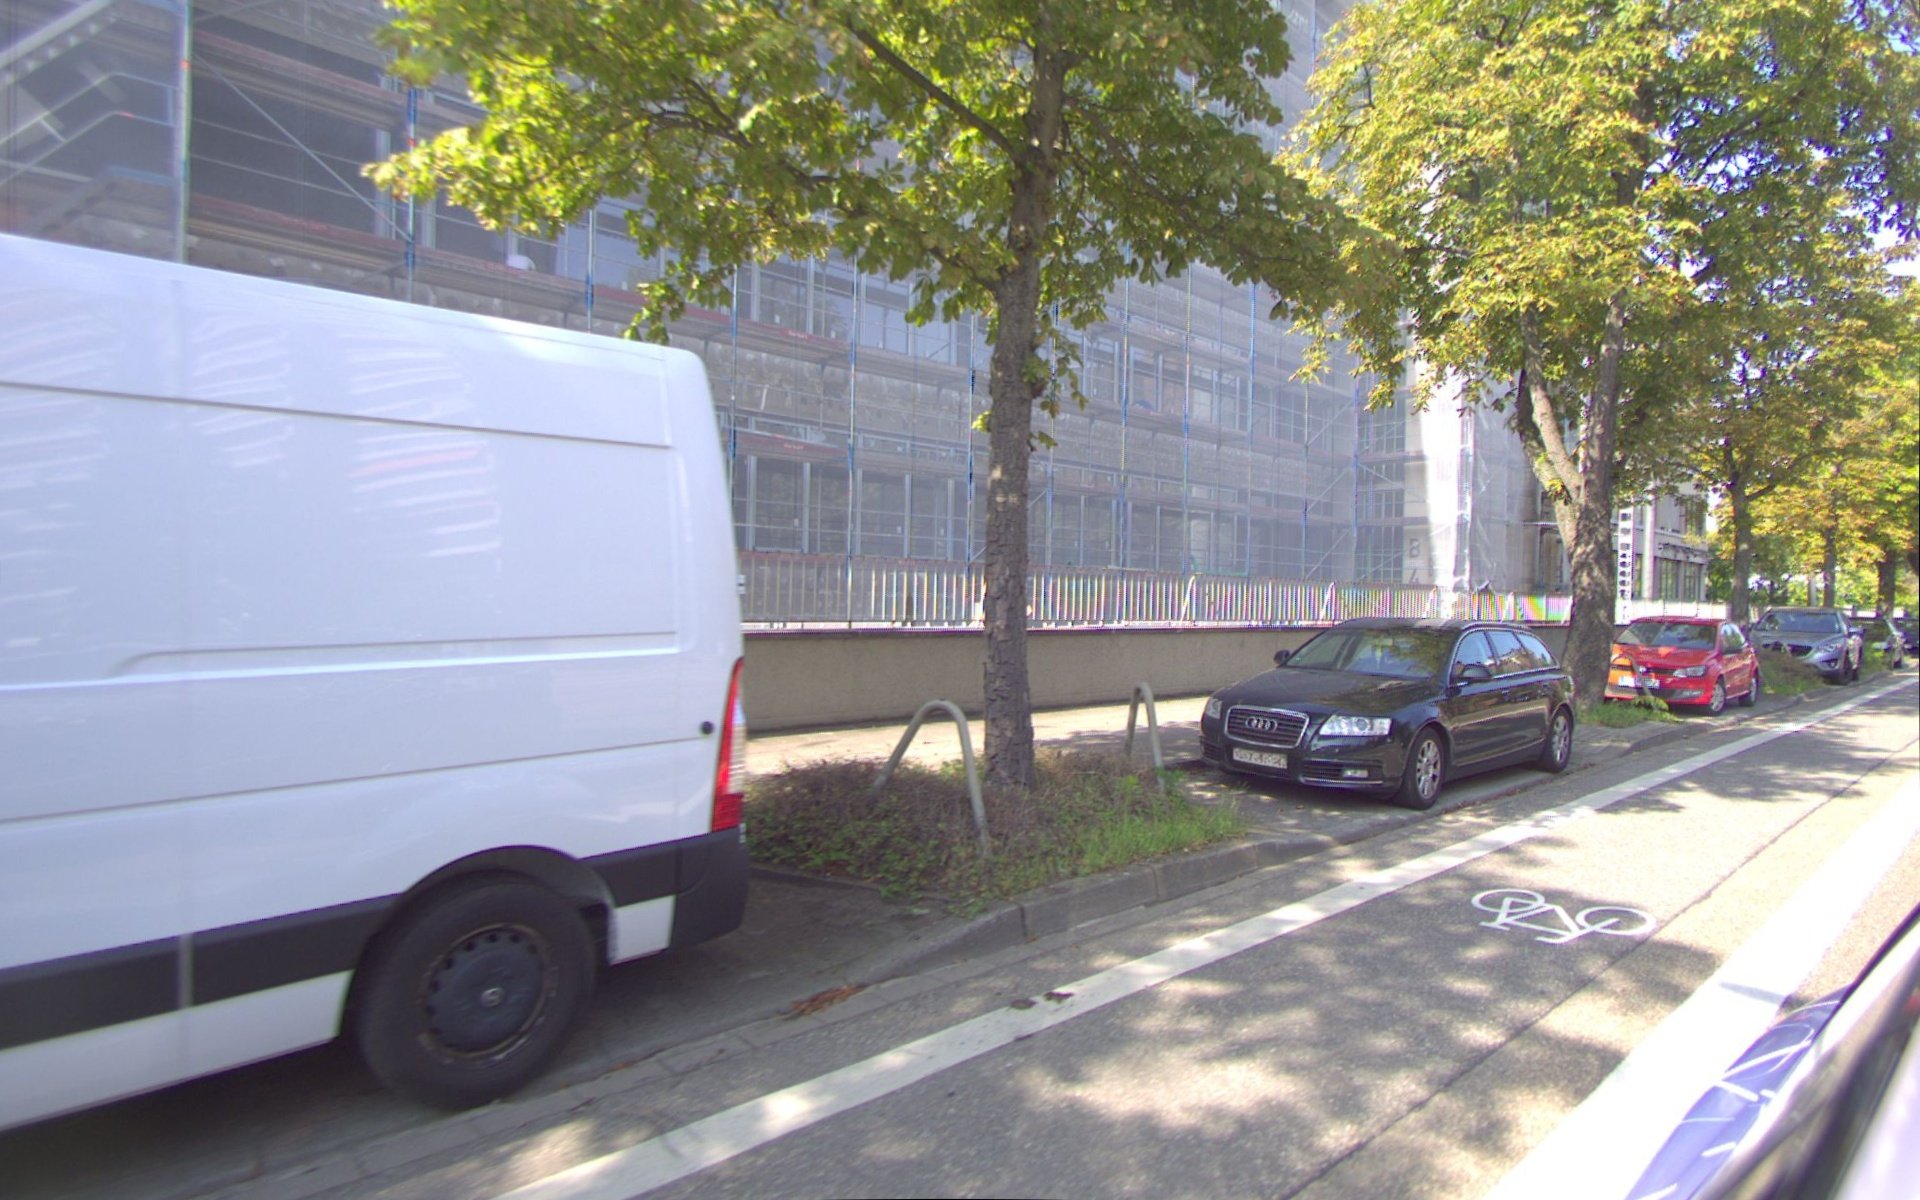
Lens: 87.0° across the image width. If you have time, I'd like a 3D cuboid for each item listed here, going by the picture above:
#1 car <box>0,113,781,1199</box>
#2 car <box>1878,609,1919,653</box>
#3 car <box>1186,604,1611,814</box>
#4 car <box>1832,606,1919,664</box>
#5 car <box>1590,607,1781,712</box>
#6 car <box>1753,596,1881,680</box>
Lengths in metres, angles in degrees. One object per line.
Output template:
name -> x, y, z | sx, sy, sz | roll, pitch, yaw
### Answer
car -> -3.371, 0.142, 2.545 | 5.408, 2.583, 2.086 | 1, 4, -43
car -> 35.952, 1.136, 38.042 | 3.712, 1.529, 1.649 | 1, 2, -41
car -> 4.165, 0.771, 9.154 | 4.742, 1.391, 1.620 | 1, 1, -41
car -> 27.097, 0.997, 29.805 | 3.672, 1.503, 1.579 | 1, 2, -41
car -> 11.693, 0.856, 16.225 | 3.930, 1.431, 1.619 | 1, 1, -41
car -> 19.445, 0.809, 22.897 | 4.322, 1.713, 1.755 | 1, -1, -44
